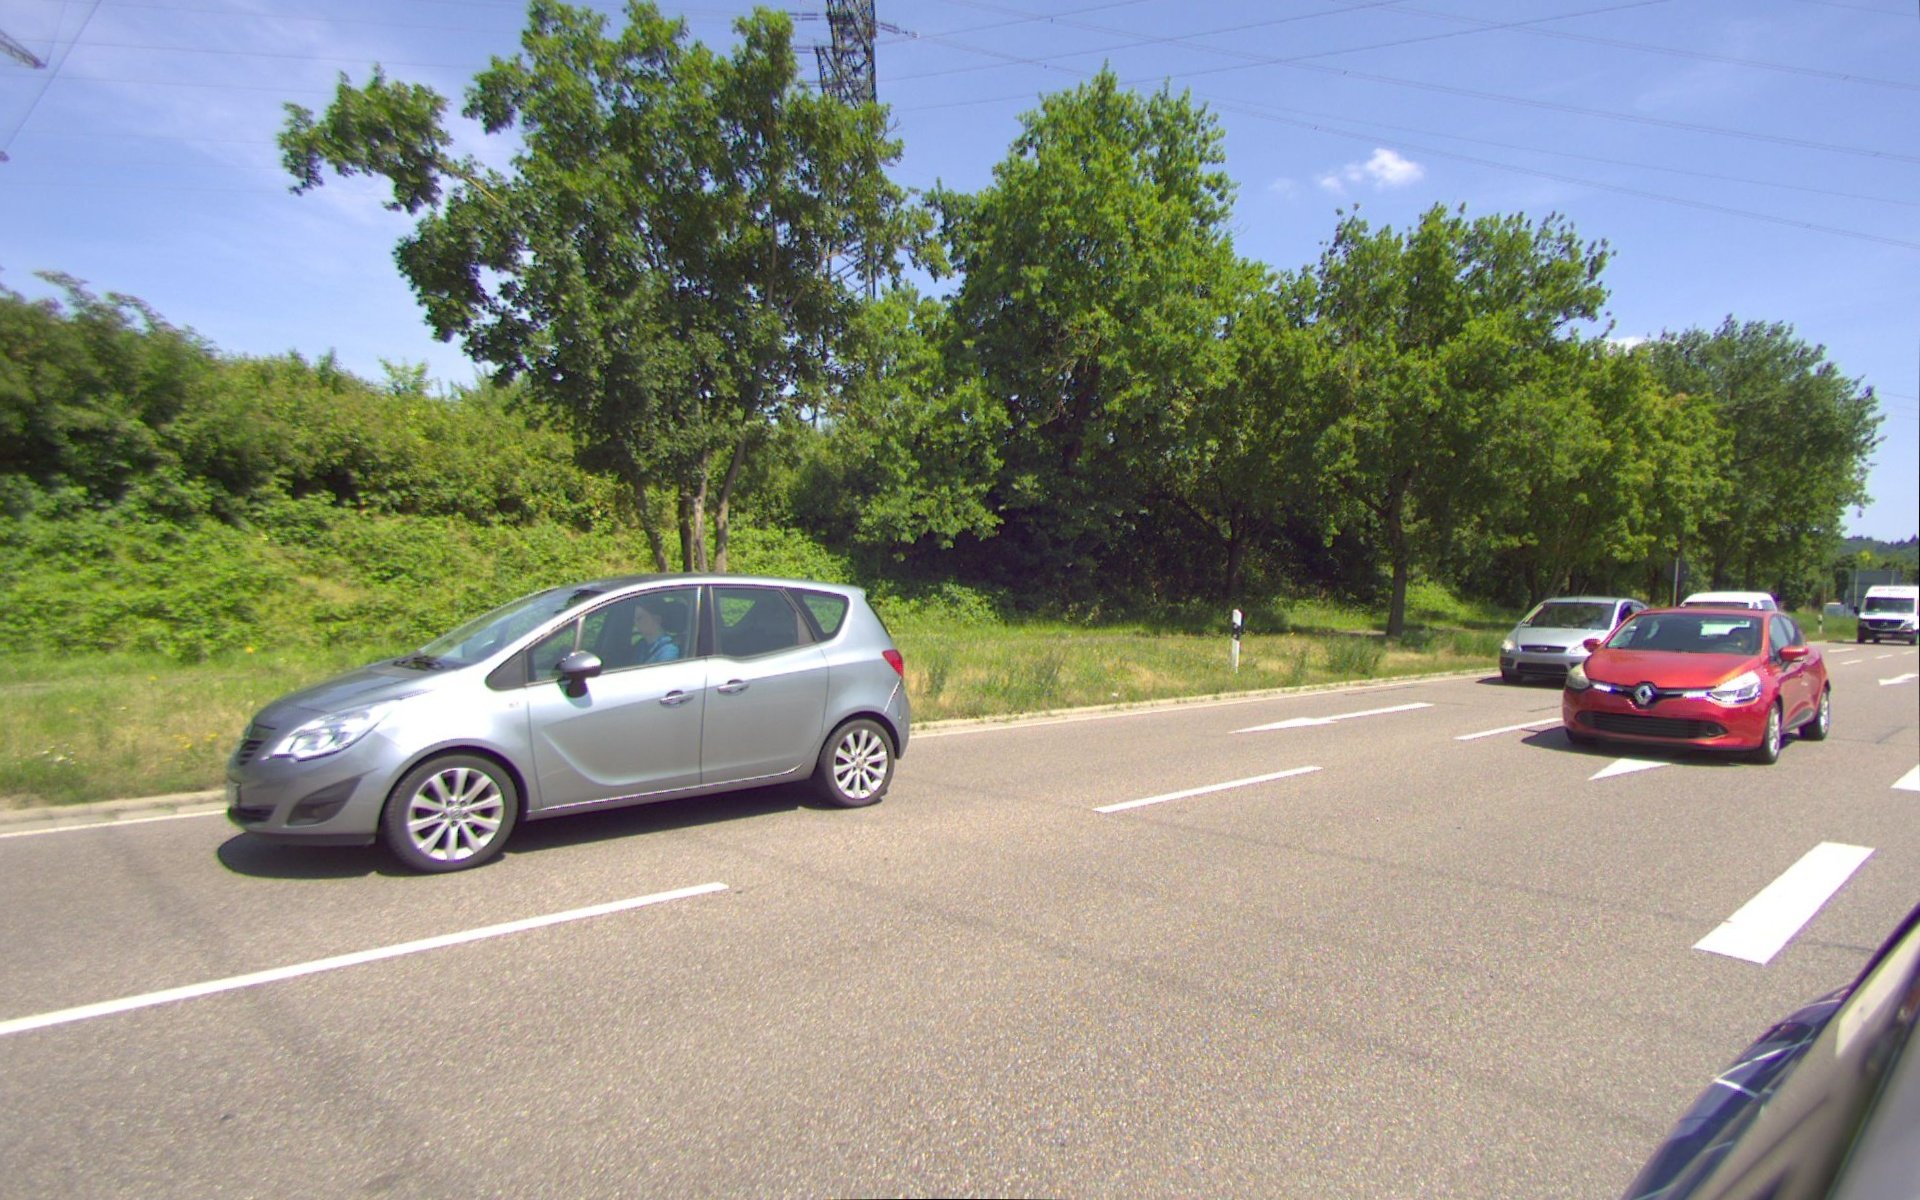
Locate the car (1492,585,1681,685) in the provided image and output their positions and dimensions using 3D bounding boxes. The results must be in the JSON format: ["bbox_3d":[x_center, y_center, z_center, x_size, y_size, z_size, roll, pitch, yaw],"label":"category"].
[{"bbox_3d":[11.477,0.574,18.429,4.196,1.614,1.746,0,0,-40],"label":"car"}]

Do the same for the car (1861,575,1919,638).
[{"bbox_3d":[42.397,0.299,45.296,6.895,2.640,2.231,0,0,-41],"label":"car"}]

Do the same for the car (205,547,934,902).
[{"bbox_3d":[-2.318,0.555,6.607,4.091,1.615,1.768,0,1,-40],"label":"car"}]

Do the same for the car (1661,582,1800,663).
[{"bbox_3d":[19.312,0.512,25.276,4.949,1.823,1.808,0,0,-41],"label":"car"}]

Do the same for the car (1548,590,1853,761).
[{"bbox_3d":[7.950,0.654,10.734,3.993,1.480,1.746,0,0,-40],"label":"car"}]
